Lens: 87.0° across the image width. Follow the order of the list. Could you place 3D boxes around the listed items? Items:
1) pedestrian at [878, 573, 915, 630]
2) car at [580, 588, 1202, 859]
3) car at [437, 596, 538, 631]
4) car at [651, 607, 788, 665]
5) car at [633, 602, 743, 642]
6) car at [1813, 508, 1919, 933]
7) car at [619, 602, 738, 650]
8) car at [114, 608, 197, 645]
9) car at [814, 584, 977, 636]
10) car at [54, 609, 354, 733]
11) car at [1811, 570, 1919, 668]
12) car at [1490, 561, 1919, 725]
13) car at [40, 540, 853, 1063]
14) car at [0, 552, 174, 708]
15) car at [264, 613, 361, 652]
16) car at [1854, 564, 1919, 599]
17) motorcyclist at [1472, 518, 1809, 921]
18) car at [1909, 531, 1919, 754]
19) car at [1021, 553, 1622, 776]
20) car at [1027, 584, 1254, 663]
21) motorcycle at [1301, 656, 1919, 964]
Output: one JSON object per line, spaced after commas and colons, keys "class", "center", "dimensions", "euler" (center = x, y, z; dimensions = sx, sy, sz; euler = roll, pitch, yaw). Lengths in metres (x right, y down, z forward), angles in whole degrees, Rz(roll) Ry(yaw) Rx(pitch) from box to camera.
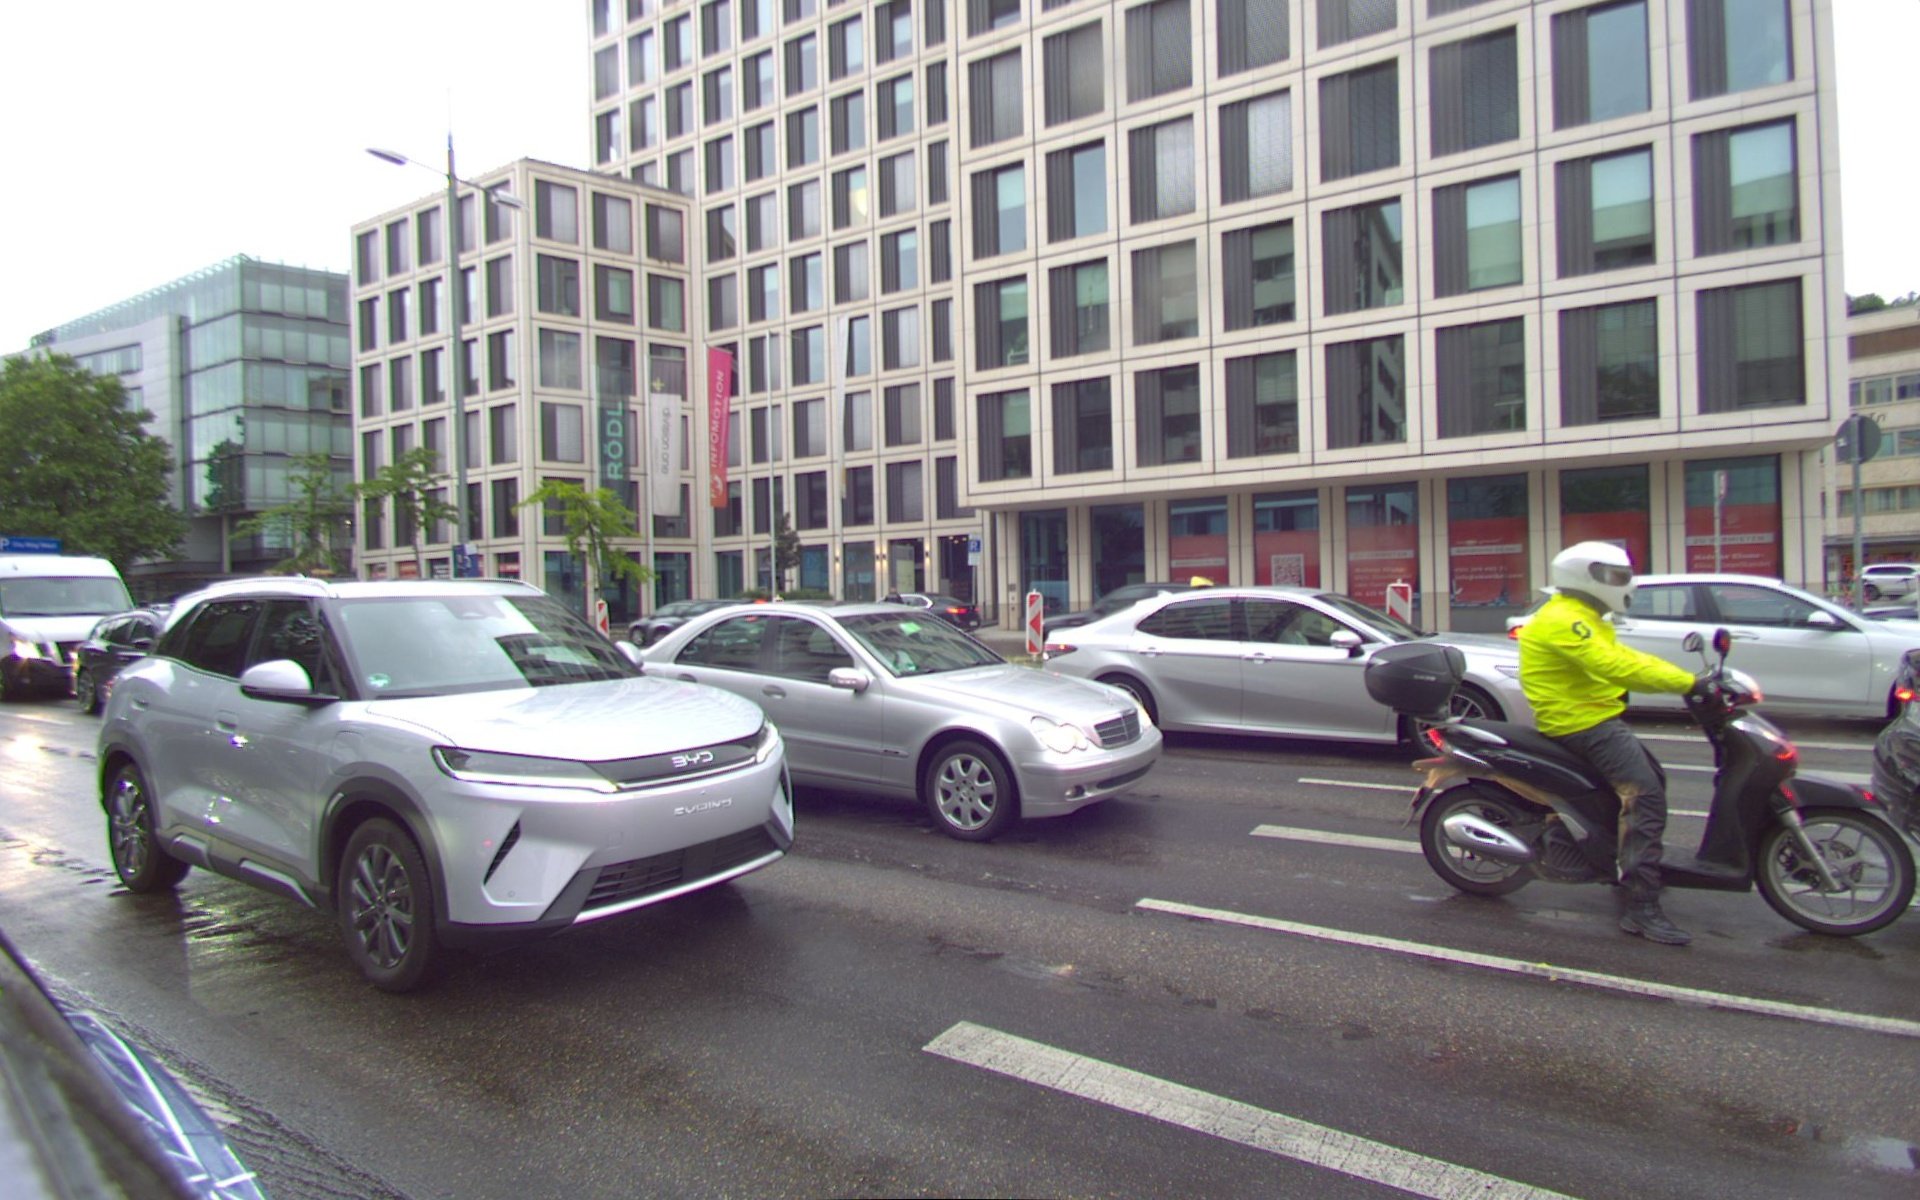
{"class": "pedestrian", "center": [-1.995, 0.049, 31.803], "dimensions": [0.962, 1.747, 0.609], "euler": [-1, 1, 27]}
{"class": "car", "center": [-0.658, 0.663, 7.333], "dimensions": [4.372, 1.414, 1.718], "euler": [0, 1, 34]}
{"class": "car", "center": [-20.233, 0.586, 43.347], "dimensions": [4.354, 1.435, 1.687], "euler": [-1, -1, 28]}
{"class": "car", "center": [-6.728, 0.986, 28.278], "dimensions": [3.538, 1.530, 1.687], "euler": [-1, -1, 28]}
{"class": "car", "center": [-10.192, 0.843, 37.923], "dimensions": [3.937, 1.435, 1.687], "euler": [-1, -1, 28]}
{"class": "car", "center": [5.946, 0.394, 3.031], "dimensions": [4.990, 1.526, 1.871], "euler": [0, 1, 34]}
{"class": "car", "center": [-9.420, 0.879, 33.875], "dimensions": [3.668, 1.530, 1.688], "euler": [-1, -1, 26]}
{"class": "car", "center": [-47.397, 1.514, 59.607], "dimensions": [4.892, 2.029, 1.981], "euler": [-1, 1, 28]}
{"class": "car", "center": [-2.127, 0.357, 32.719], "dimensions": [5.160, 1.581, 1.687], "euler": [-1, -1, 29]}
{"class": "car", "center": [-10.484, 0.874, 13.979], "dimensions": [4.226, 1.412, 1.886], "euler": [-1, 1, 32]}
{"class": "car", "center": [16.469, 0.292, 16.095], "dimensions": [4.172, 1.530, 1.687], "euler": [-1, -1, 29]}
{"class": "car", "center": [7.554, 0.348, 9.960], "dimensions": [3.983, 1.383, 1.769], "euler": [0, 1, 34]}
{"class": "car", "center": [-2.738, 0.635, 5.119], "dimensions": [4.158, 1.673, 1.794], "euler": [0, 1, 33]}
{"class": "car", "center": [-16.479, 0.440, 18.147], "dimensions": [5.708, 2.403, 2.234], "euler": [0, 1, 36]}
{"class": "car", "center": [-26.377, 1.322, 41.192], "dimensions": [3.857, 1.530, 1.687], "euler": [-1, -1, 28]}
{"class": "car", "center": [46.489, -0.890, 48.992], "dimensions": [1.966, 1.661, 4.465], "euler": [-2, 1, -17]}
{"class": "motorcyclist", "center": [2.867, 0.433, 4.404], "dimensions": [1.096, 1.486, 0.935], "euler": [-1, 1, 30]}
{"class": "car", "center": [8.414, 0.316, 5.833], "dimensions": [3.985, 1.628, 1.720], "euler": [-1, 1, 31]}
{"class": "car", "center": [3.066, 0.432, 9.098], "dimensions": [4.790, 1.532, 1.815], "euler": [0, 1, 35]}
{"class": "car", "center": [3.547, 0.468, 20.019], "dimensions": [4.121, 1.435, 1.687], "euler": [-1, -1, 28]}
{"class": "motorcycle", "center": [2.788, 0.794, 4.466], "dimensions": [2.285, 0.997, 0.935], "euler": [-1, 1, 30]}
